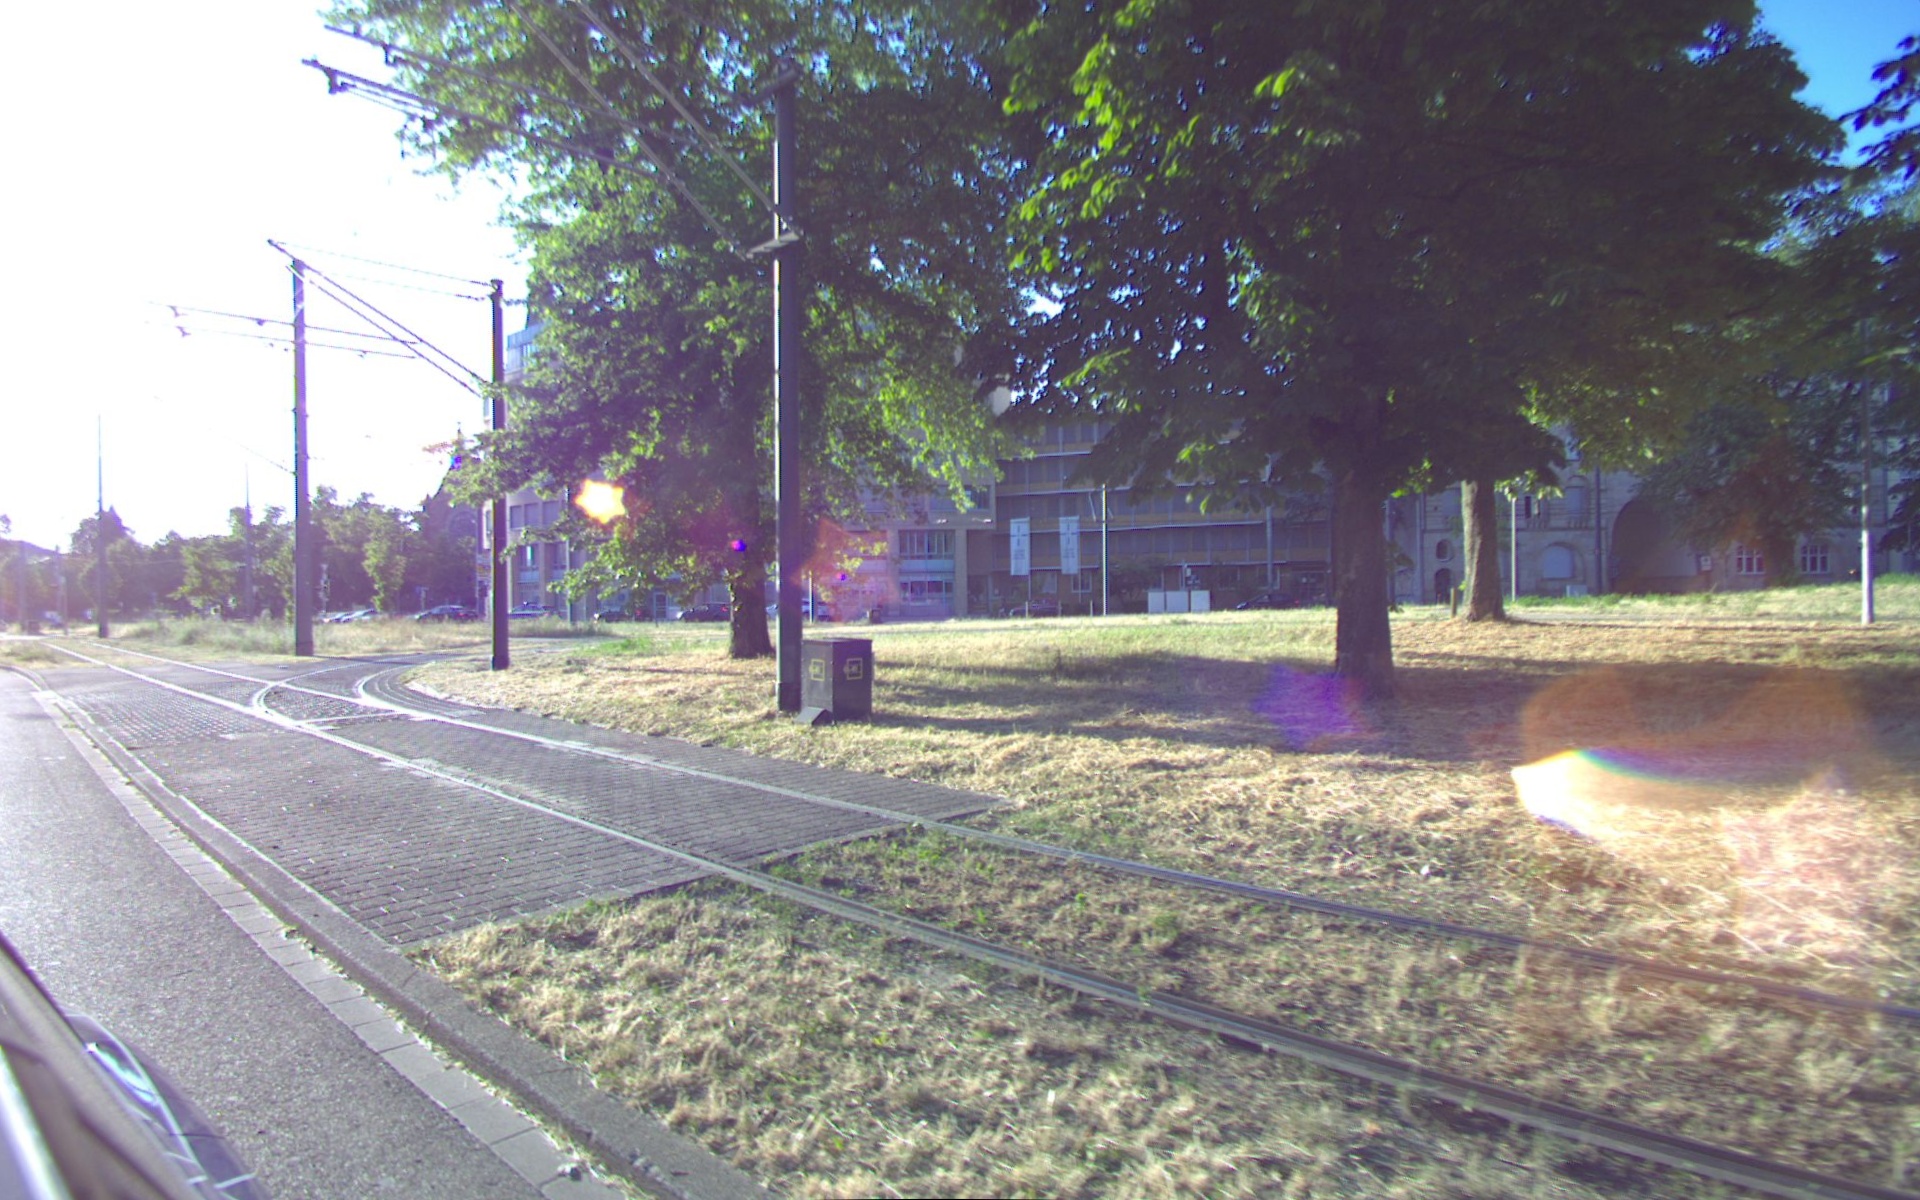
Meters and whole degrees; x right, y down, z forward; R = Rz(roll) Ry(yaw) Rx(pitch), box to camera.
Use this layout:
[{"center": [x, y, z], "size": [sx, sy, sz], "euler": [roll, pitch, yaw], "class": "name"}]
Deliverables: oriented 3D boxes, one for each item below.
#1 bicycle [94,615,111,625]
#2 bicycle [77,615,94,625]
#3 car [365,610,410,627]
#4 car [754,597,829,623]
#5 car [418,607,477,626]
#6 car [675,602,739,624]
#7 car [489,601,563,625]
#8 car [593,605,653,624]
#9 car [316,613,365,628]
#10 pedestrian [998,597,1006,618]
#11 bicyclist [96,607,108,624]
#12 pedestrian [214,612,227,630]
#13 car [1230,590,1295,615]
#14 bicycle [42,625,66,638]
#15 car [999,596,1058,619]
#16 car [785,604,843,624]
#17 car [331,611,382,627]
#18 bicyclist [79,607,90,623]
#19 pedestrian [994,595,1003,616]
[{"center": [-90.410, 2.087, 106.659], "size": [1.916, 1.034, 0.456], "euler": [-1, 1, 21], "class": "bicycle"}, {"center": [-97.964, 2.210, 113.395], "size": [1.916, 1.034, 0.522], "euler": [-1, 3, 21], "class": "bicycle"}, {"center": [-61.292, 1.966, 108.444], "size": [1.812, 1.597, 3.973], "euler": [-1, 0, 20], "class": "car"}, {"center": [-10.469, 0.644, 63.085], "size": [4.269, 1.493, 1.767], "euler": [-1, 0, 16], "class": "car"}, {"center": [-36.743, 1.165, 72.618], "size": [3.761, 1.292, 1.718], "euler": [-1, 0, 21], "class": "car"}, {"center": [-16.212, 0.817, 64.902], "size": [3.709, 1.291, 1.642], "euler": [-1, 0, 18], "class": "car"}, {"center": [-30.025, 0.901, 69.991], "size": [4.748, 1.491, 1.882], "euler": [-2, 1, 22], "class": "car"}, {"center": [-22.338, 0.971, 67.130], "size": [3.570, 1.162, 1.515], "euler": [-1, 0, 20], "class": "car"}, {"center": [-63.378, 2.088, 103.573], "size": [1.889, 1.431, 3.973], "euler": [-1, 0, 20], "class": "car"}, {"center": [2.924, 0.535, 70.461], "size": [0.482, 1.441, 0.412], "euler": [-1, 0, 21], "class": "pedestrian"}, {"center": [-90.383, 1.611, 106.585], "size": [0.888, 1.693, 0.571], "euler": [-1, 1, 20], "class": "bicyclist"}, {"center": [-71.585, 2.067, 98.016], "size": [0.713, 1.685, 0.732], "euler": [-1, 0, 23], "class": "pedestrian"}, {"center": [17.938, 0.131, 60.136], "size": [3.483, 1.364, 1.550], "euler": [-2, 1, 11], "class": "car"}, {"center": [-86.358, 2.976, 96.421], "size": [1.894, 1.155, 0.459], "euler": [-2, 1, 3], "class": "bicycle"}, {"center": [4.391, 0.480, 64.735], "size": [3.489, 1.364, 1.547], "euler": [-2, 1, 16], "class": "car"}, {"center": [-10.171, 0.951, 70.382], "size": [3.699, 1.268, 1.561], "euler": [-1, 0, 19], "class": "car"}, {"center": [-58.800, 1.815, 98.645], "size": [1.891, 1.431, 3.968], "euler": [-1, 0, 24], "class": "car"}, {"center": [-98.131, 1.688, 113.435], "size": [0.888, 1.841, 0.571], "euler": [-1, 1, 20], "class": "bicyclist"}, {"center": [2.646, 0.402, 69.704], "size": [0.482, 1.441, 0.412], "euler": [-1, 0, 21], "class": "pedestrian"}]
